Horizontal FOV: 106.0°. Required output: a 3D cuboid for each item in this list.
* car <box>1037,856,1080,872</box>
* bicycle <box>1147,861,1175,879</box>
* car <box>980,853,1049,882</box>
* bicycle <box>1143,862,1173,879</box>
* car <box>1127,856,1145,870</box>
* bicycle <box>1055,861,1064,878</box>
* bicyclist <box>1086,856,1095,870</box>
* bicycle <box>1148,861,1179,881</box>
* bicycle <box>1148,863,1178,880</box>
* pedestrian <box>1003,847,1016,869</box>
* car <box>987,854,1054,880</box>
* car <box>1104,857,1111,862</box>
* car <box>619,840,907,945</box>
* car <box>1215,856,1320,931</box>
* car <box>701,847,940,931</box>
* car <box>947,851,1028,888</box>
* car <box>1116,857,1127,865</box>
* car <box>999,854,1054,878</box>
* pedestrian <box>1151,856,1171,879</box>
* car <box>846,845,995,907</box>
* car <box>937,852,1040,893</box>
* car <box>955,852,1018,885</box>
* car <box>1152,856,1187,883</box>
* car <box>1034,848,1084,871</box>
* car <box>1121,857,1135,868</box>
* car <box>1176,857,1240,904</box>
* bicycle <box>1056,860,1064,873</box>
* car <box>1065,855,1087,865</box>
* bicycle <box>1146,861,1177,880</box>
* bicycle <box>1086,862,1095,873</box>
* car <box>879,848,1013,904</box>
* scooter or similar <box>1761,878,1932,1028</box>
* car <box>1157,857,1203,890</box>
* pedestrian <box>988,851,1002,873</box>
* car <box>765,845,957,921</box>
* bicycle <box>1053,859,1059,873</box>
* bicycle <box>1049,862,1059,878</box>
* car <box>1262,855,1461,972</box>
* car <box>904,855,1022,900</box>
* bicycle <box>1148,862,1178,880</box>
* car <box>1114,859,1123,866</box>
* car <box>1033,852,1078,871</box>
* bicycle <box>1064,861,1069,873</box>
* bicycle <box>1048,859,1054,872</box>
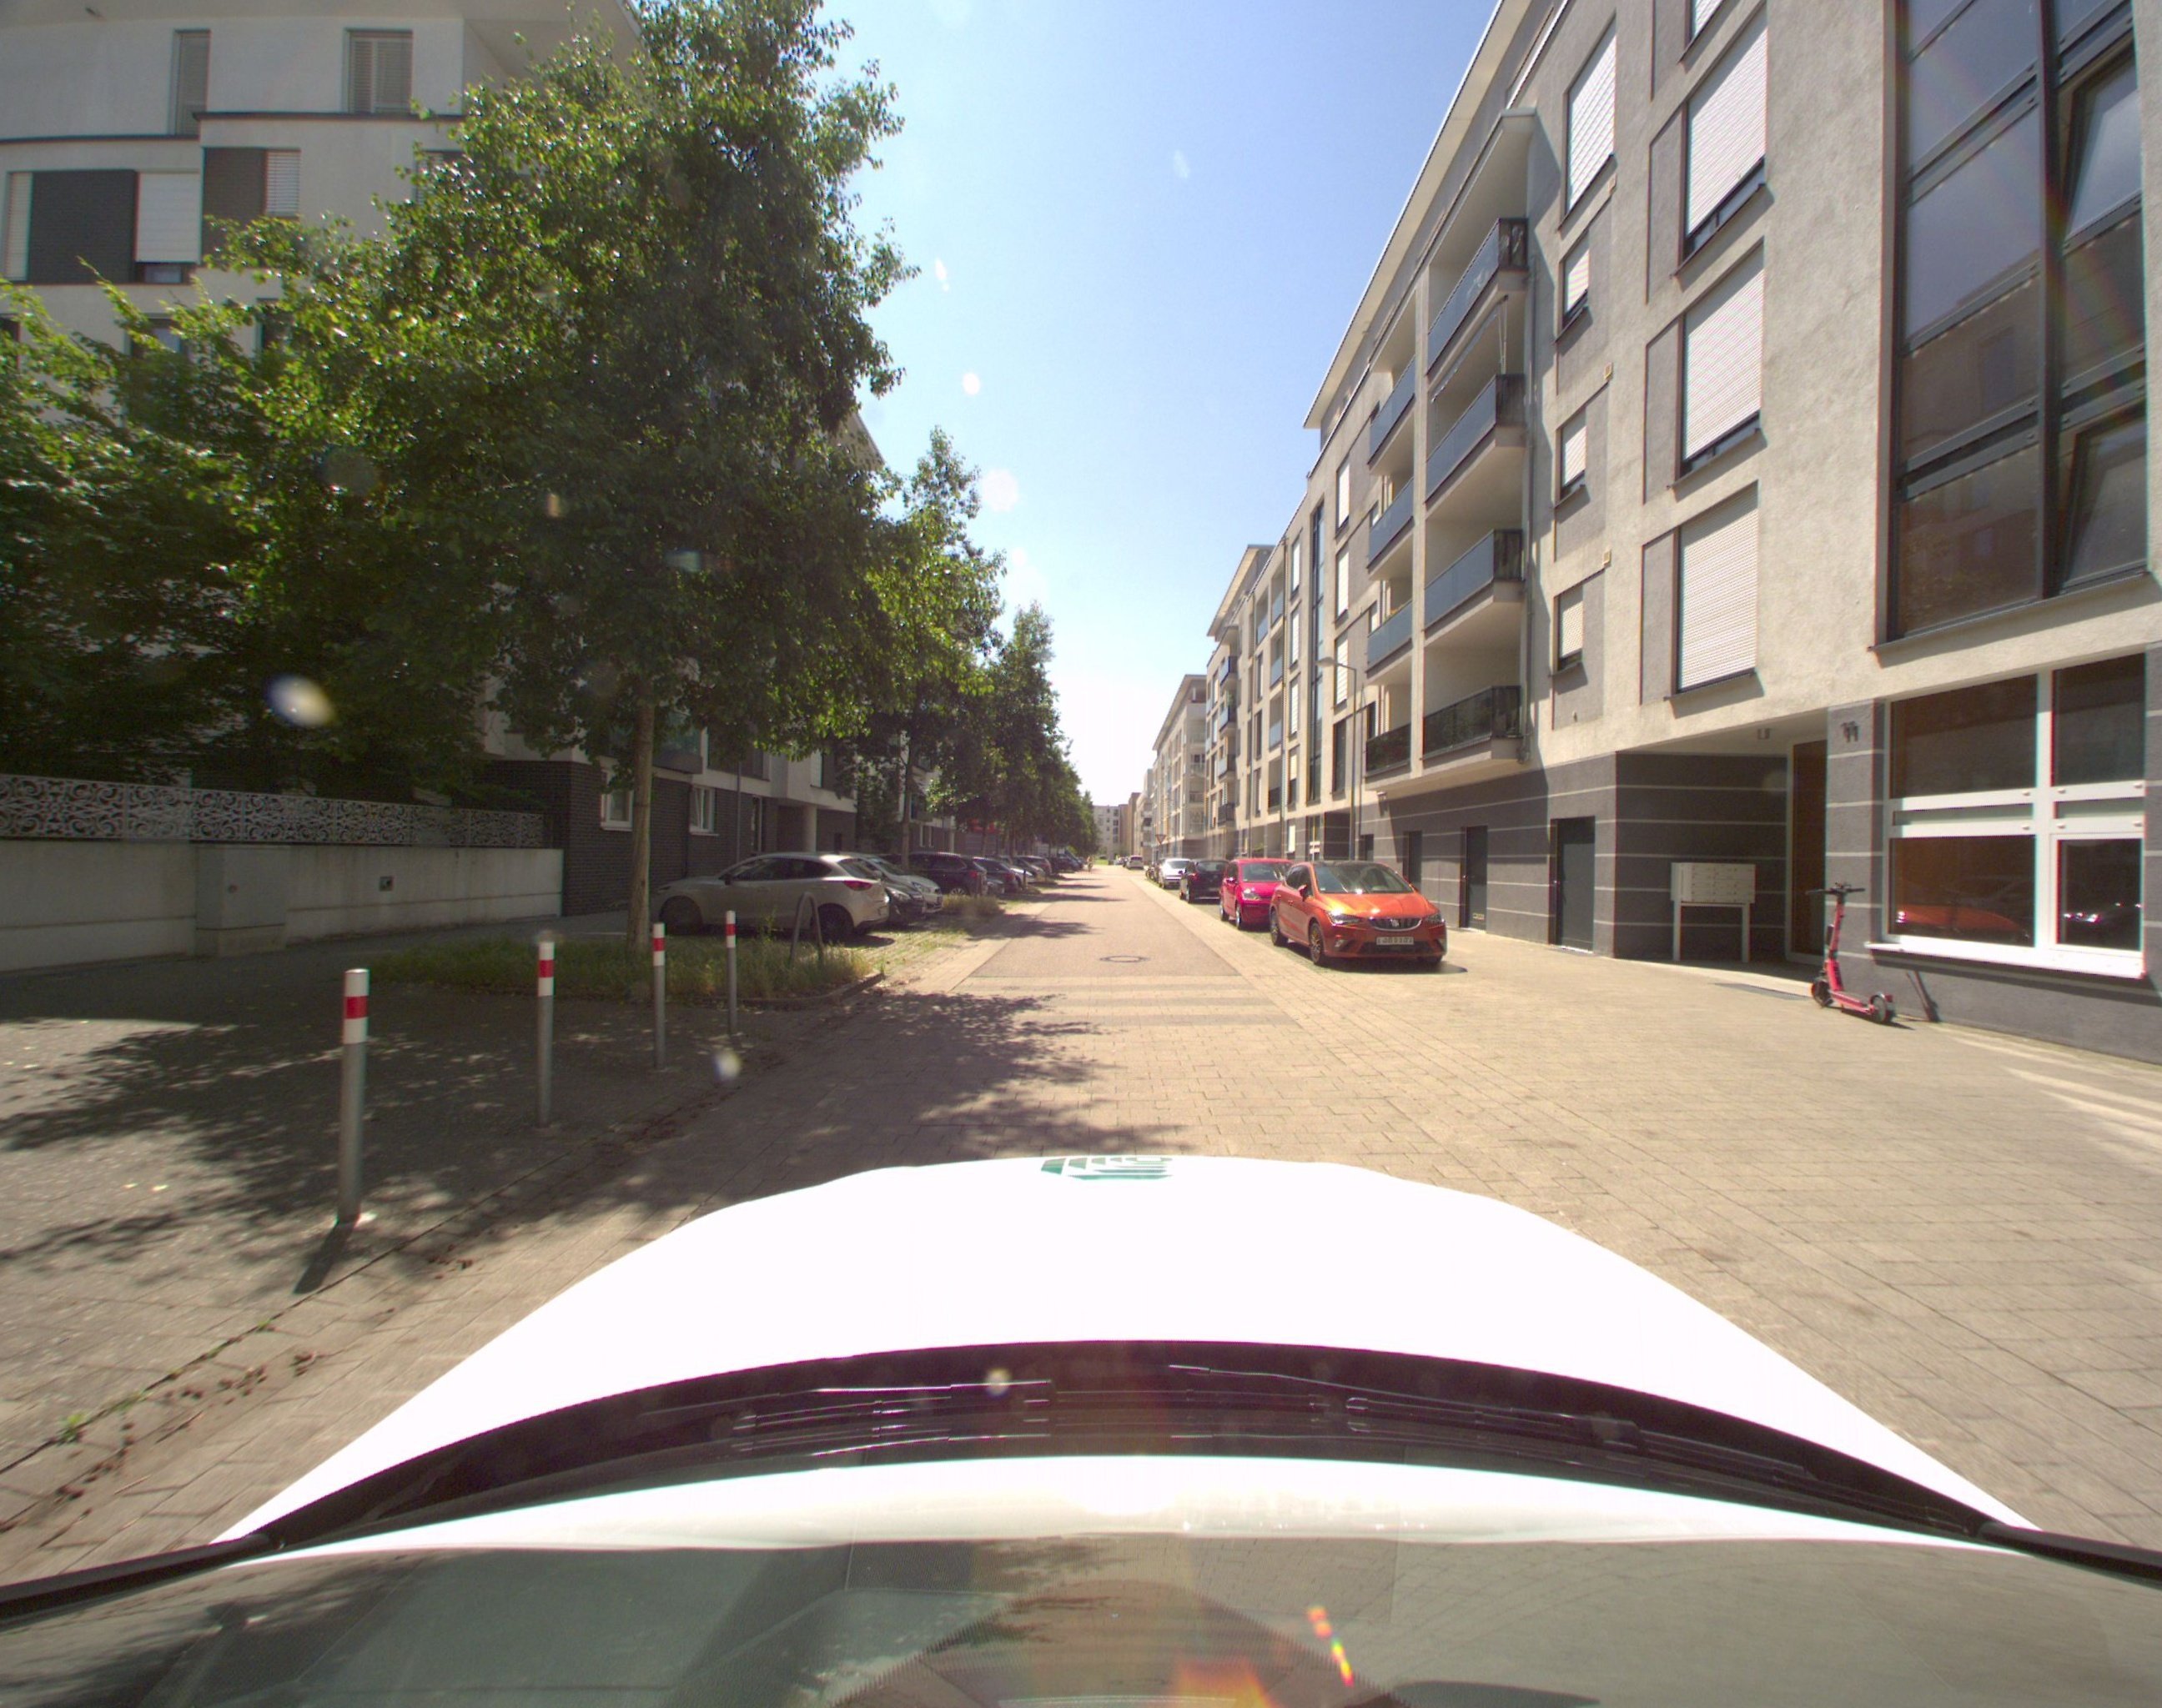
[{"bbox_3d":[-2.412,1.067,88.033,4.367,1.515,2.076,3,0,1],"label":"car"},{"bbox_3d":[5.283,1.050,53.961,1.838,1.148,0.458,0,-1,-18],"label":"bicycle"},{"bbox_3d":[-3.992,0.808,49.106,3.924,1.553,1.872,2,0,1],"label":"car"},{"bbox_3d":[5.161,1.078,54.329,1.911,1.133,0.611,0,-1,10],"label":"bicycle"},{"bbox_3d":[6.414,1.014,95.072,1.989,1.657,4.117,0,0,2],"label":"car"},{"bbox_3d":[-1.599,1.102,59.399,0.371,1.180,1.814,0,0,-10],"label":"bicycle"},{"bbox_3d":[0.965,0.903,84.220,0.950,1.459,0.800,1,0,1],"label":"bicyclist"},{"bbox_3d":[5.212,1.049,51.275,1.865,1.218,0.715,0,-1,-3],"label":"bicycle"},{"bbox_3d":[5.294,1.135,52.714,1.918,1.035,0.559,0,-1,-3],"label":"bicycle"},{"bbox_3d":[-6.841,0.388,78.100,1.004,2.014,1.131,0,-1,4],"label":"pedestrian"},{"bbox_3d":[-3.813,0.854,52.000,4.170,1.486,1.957,2,-2,-2],"label":"car"},{"bbox_3d":[8.021,1.606,247.114,1.987,1.519,4.000,1,0,0],"label":"car"},{"bbox_3d":[-5.467,0.646,14.433,4.237,1.517,1.925,3,0,1],"label":"car"},{"bbox_3d":[4.031,0.793,18.160,1.589,1.486,3.677,-1,0,2],"label":"car"},{"bbox_3d":[-5.271,0.683,16.876,4.301,1.476,1.793,2,0,1],"label":"car"},{"bbox_3d":[-4.422,0.730,38.944,3.700,1.586,1.818,2,-1,-4],"label":"car"},{"bbox_3d":[8.153,1.440,163.734,1.987,1.675,4.000,1,0,0],"label":"car"},{"bbox_3d":[-3.768,0.839,56.920,3.617,1.520,1.832,2,0,1],"label":"car"},{"bbox_3d":[5.284,0.872,53.506,1.178,1.515,0.686,0,0,-8],"label":"pedestrian"},{"bbox_3d":[-4.702,0.629,24.342,3.972,1.629,1.934,2,0,1],"label":"car"},{"bbox_3d":[-4.093,0.794,36.522,4.348,1.710,1.999,-1,0,-1],"label":"car"},{"bbox_3d":[-4.836,0.750,41.956,2.923,1.500,1.848,3,0,0],"label":"car"},{"bbox_3d":[5.128,0.880,47.630,1.732,1.485,4.230,0,0,2],"label":"car"},{"bbox_3d":[-2.674,0.668,100.665,6.002,2.816,2.606,0,0,1],"label":"car"},{"bbox_3d":[6.646,1.212,115.186,1.749,1.552,4.005,1,0,5],"label":"car"},{"bbox_3d":[4.270,0.849,27.898,1.637,1.462,4.118,-1,0,1],"label":"car"},{"bbox_3d":[-1.990,1.181,77.898,0.569,1.174,1.765,4,1,-5],"label":"bicycle"},{"bbox_3d":[-0.978,1.169,159.499,3.965,2.014,2.004,1,0,8],"label":"car"},{"bbox_3d":[5.279,1.064,53.377,1.922,1.218,0.459,0,-1,-8],"label":"bicycle"},{"bbox_3d":[0.953,1.366,84.266,0.895,1.129,2.040,1,0,1],"label":"bicycle"},{"bbox_3d":[-4.382,0.707,26.863,3.970,1.651,1.920,2,0,3],"label":"car"},{"bbox_3d":[7.215,0.872,7.765,0.541,1.225,1.536,1,0,16],"label":"scooter or similar"},{"bbox_3d":[4.709,0.902,39.315,1.827,1.505,4.352,-1,0,2],"label":"car"},{"bbox_3d":[-6.790,0.634,64.244,0.996,1.690,0.833,0,-1,2],"label":"pedestrian"},{"bbox_3d":[-5.141,0.654,19.437,3.972,1.592,1.885,2,0,2],"label":"car"},{"bbox_3d":[-2.422,1.145,77.912,0.432,1.204,1.701,2,1,2],"label":"bicycle"},{"bbox_3d":[-1.960,1.128,59.377,0.434,1.128,1.971,0,0,-10],"label":"bicycle"},{"bbox_3d":[4.079,0.774,12.621,1.731,1.487,4.260,-1,0,2],"label":"car"},{"bbox_3d":[-4.194,0.823,29.434,3.964,1.445,1.774,2,-1,-3],"label":"car"},{"bbox_3d":[5.223,1.086,52.021,1.782,1.104,0.746,0,-1,-3],"label":"bicycle"},{"bbox_3d":[8.794,1.981,190.958,1.987,1.717,4.000,1,0,0],"label":"car"},{"bbox_3d":[-2.962,0.847,95.234,5.126,2.119,2.312,2,0,1],"label":"car"},{"bbox_3d":[-1.395,1.241,78.106,0.464,1.141,1.925,1,0,0],"label":"bicycle"},{"bbox_3d":[-2.877,1.130,78.174,0.517,1.204,1.752,2,1,0],"label":"bicycle"}]
